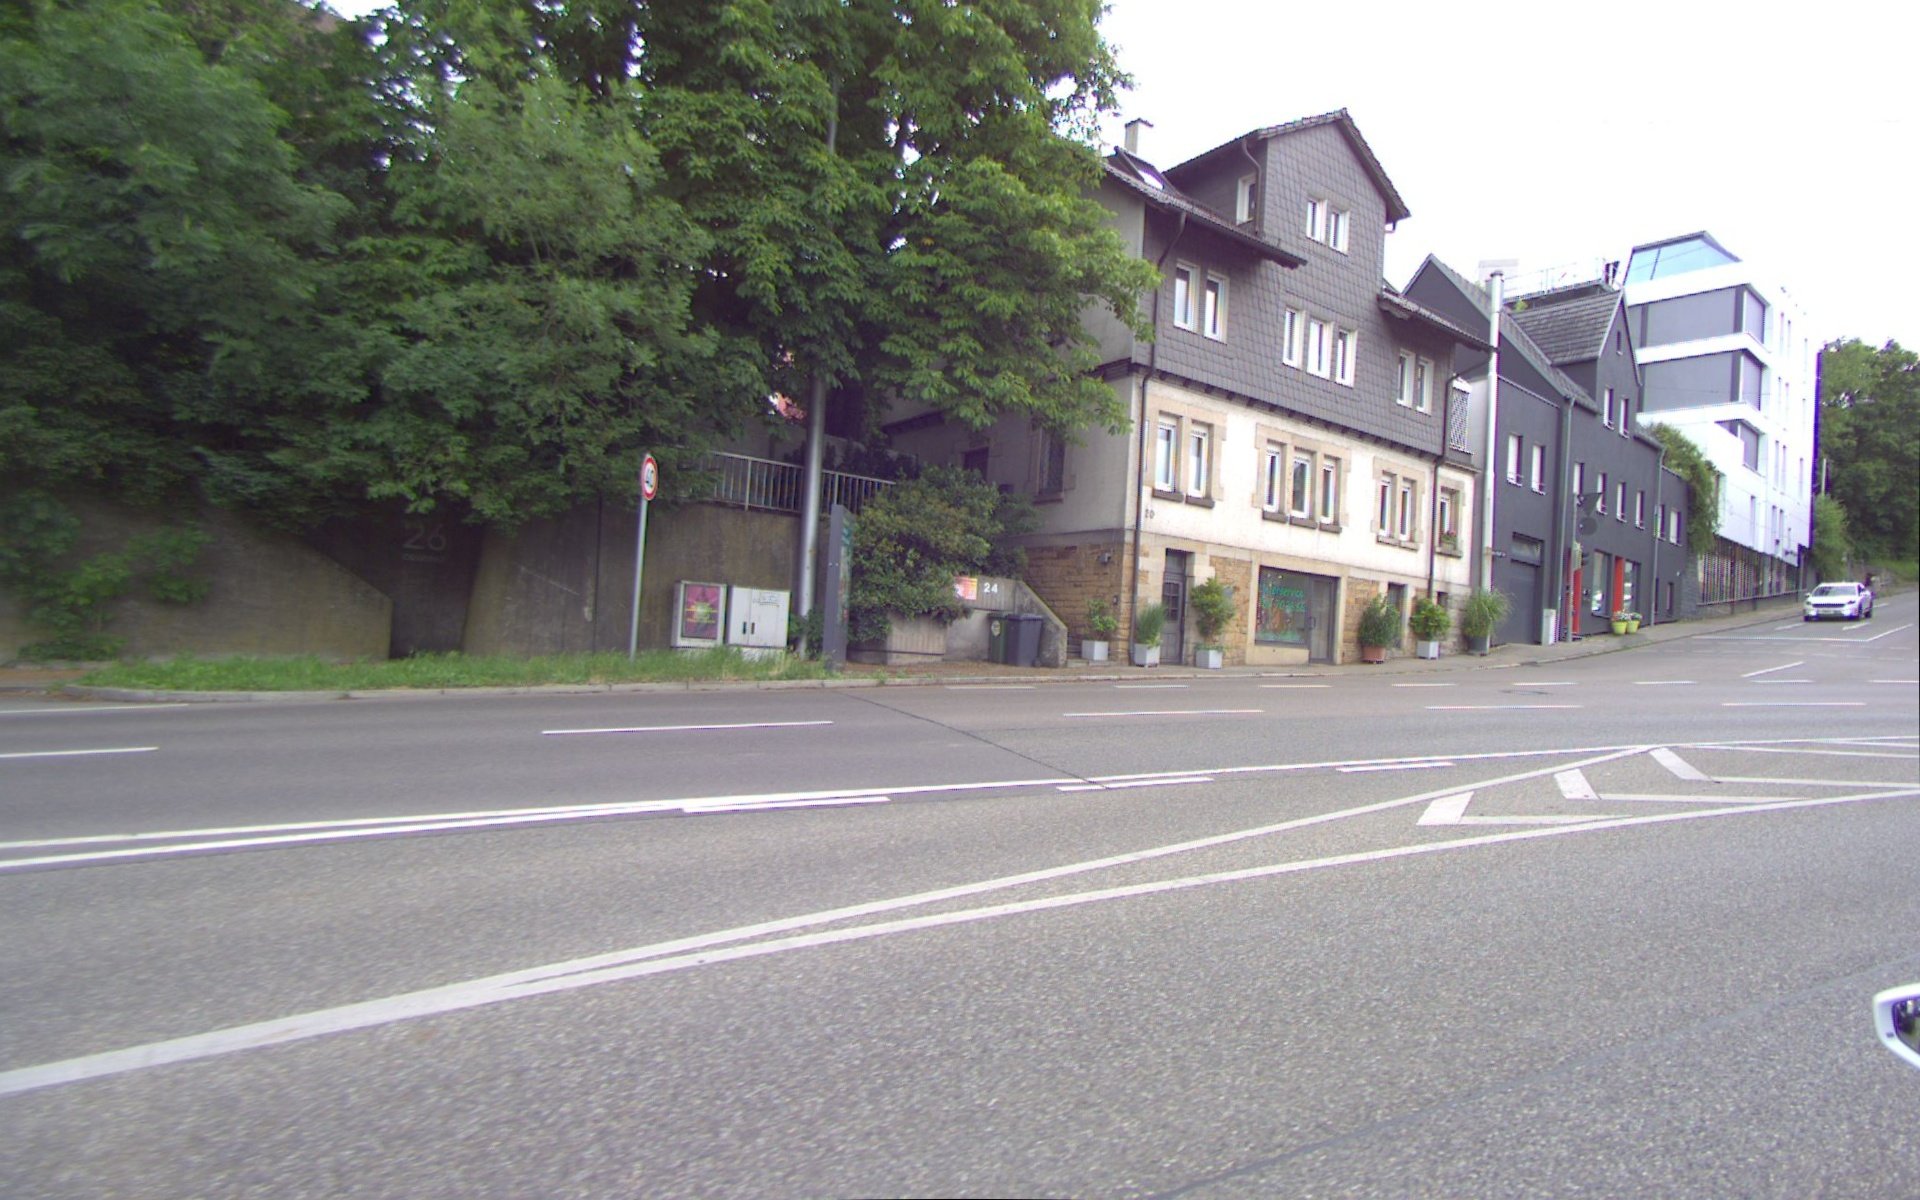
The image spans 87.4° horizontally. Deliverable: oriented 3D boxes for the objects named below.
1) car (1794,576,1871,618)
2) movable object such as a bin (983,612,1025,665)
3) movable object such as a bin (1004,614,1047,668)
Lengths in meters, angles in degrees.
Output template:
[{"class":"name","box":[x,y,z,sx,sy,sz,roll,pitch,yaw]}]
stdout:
[{"class":"car","box":[37.219,-0.155,42.808,4.353,1.589,1.867,-3,2,-40]},{"class":"movable object such as a bin","box":[0.902,0.785,20.523,0.638,1.032,0.576,3,-1,-23]},{"class":"movable object such as a bin","box":[1.305,0.811,20.046,0.638,1.032,0.537,3,-1,-23]}]
